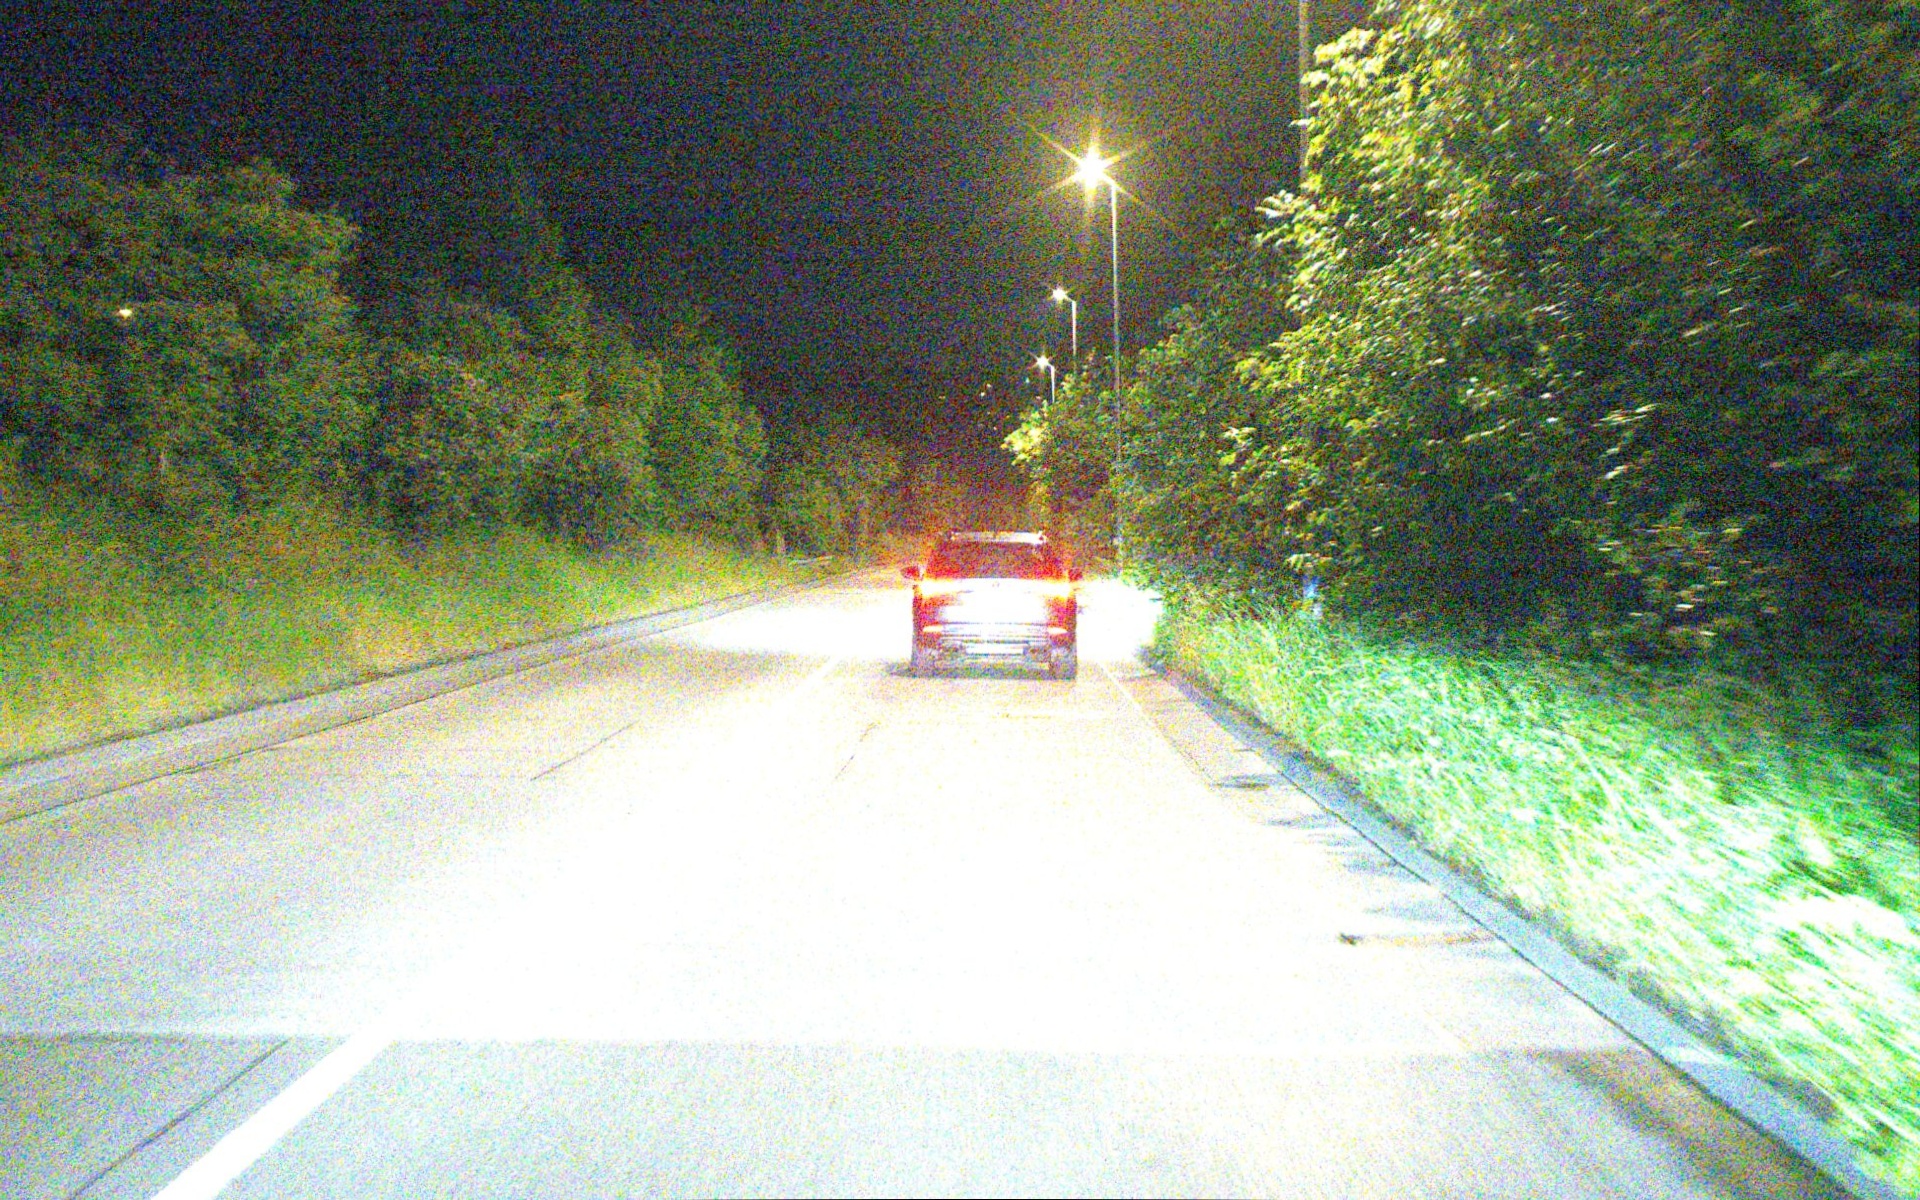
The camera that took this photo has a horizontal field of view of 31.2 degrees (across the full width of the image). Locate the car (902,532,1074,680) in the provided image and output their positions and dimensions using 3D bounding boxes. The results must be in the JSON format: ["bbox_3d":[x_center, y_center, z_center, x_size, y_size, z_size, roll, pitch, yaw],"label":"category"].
[{"bbox_3d":[0.287,0.026,38.317,1.815,1.568,3.944,0,1,0],"label":"car"}]
